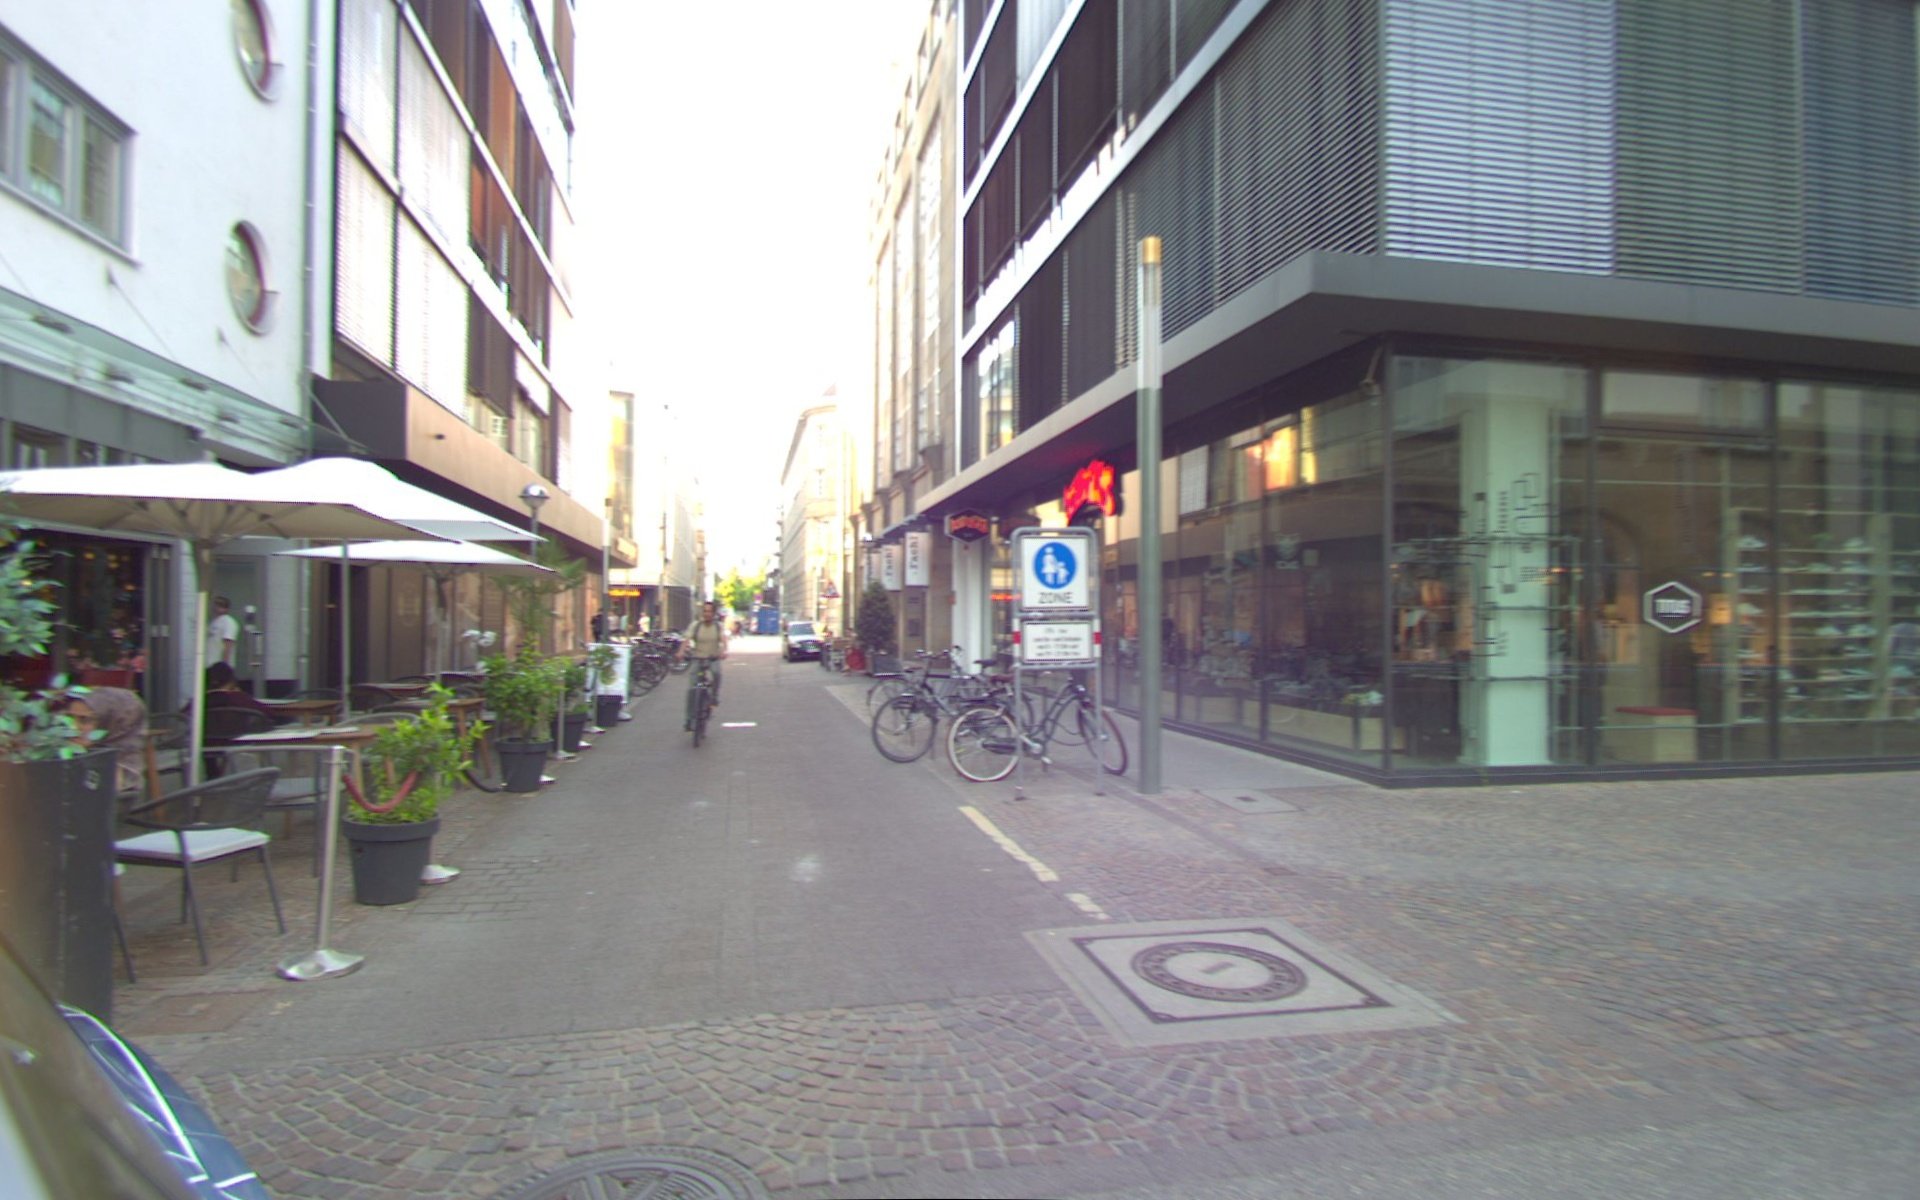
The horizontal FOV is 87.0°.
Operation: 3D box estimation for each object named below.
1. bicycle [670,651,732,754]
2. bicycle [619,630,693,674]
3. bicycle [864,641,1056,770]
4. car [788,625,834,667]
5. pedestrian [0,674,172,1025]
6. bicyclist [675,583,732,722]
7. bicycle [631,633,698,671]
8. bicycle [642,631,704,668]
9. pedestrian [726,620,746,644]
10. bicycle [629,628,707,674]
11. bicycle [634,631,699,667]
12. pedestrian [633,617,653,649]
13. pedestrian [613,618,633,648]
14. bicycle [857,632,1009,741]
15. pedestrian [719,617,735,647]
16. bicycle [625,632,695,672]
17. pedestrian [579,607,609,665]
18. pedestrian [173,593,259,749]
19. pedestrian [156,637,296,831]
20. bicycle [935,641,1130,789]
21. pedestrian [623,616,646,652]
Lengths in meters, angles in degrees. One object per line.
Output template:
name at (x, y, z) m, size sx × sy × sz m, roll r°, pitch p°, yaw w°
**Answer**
bicycle at (-3.247, 1.242, 12.799) m, size 0.688 × 1.137 × 2.010 m, roll 0°, pitch -1°, yaw -13°
bicycle at (-8.948, 1.531, 29.863) m, size 2.006 × 1.176 × 0.620 m, roll 4°, pitch -2°, yaw -12°
bicycle at (-0.004, 1.066, 10.520) m, size 1.872 × 1.190 × 0.518 m, roll -2°, pitch -2°, yaw -13°
car at (-5.420, 1.628, 36.936) m, size 1.578 × 1.434 × 3.610 m, roll 0°, pitch -1°, yaw -8°
pedestrian at (-3.317, 0.904, 3.846) m, size 0.393 × 1.223 × 0.384 m, roll 1°, pitch -2°, yaw -21°
bicyclist at (-3.233, 0.645, 12.784) m, size 0.665 × 1.683 × 0.871 m, roll 0°, pitch -1°, yaw -13°
bicycle at (-9.357, 1.635, 32.146) m, size 2.006 × 1.176 × 0.620 m, roll 1°, pitch -1°, yaw -13°
bicycle at (-9.860, 1.691, 34.773) m, size 2.006 × 1.225 × 0.620 m, roll 1°, pitch -1°, yaw -13°
pedestrian at (-14.725, 2.110, 66.550) m, size 0.917 × 1.584 × 0.982 m, roll -1°, pitch -1°, yaw 32°
bicycle at (-8.183, 1.436, 28.471) m, size 2.006 × 1.176 × 0.667 m, roll 3°, pitch -2°, yaw -12°
bicycle at (-9.719, 1.617, 33.560) m, size 2.006 × 1.176 × 0.620 m, roll 1°, pitch -1°, yaw -13°
pedestrian at (-16.497, 1.688, 52.629) m, size 0.780 × 1.633 × 0.629 m, roll 0°, pitch -1°, yaw 29°
pedestrian at (-17.329, 1.695, 52.053) m, size 0.633 × 1.536 × 0.776 m, roll 0°, pitch -1°, yaw 27°
bicycle at (-0.361, 1.109, 13.259) m, size 1.872 × 1.279 × 0.539 m, roll -3°, pitch -1°, yaw -11°
pedestrian at (-12.814, 1.765, 55.592) m, size 0.752 × 1.650 × 0.671 m, roll 1°, pitch -1°, yaw -19°
bicycle at (-9.192, 1.591, 31.053) m, size 2.006 × 1.176 × 0.620 m, roll 1°, pitch -1°, yaw -13°
pedestrian at (-11.865, 1.163, 32.844) m, size 0.791 × 1.850 × 0.676 m, roll 1°, pitch -1°, yaw -10°
pedestrian at (-8.780, 0.823, 11.970) m, size 0.629 × 1.785 × 0.604 m, roll 1°, pitch -1°, yaw -17°
pedestrian at (-5.804, 1.021, 8.052) m, size 0.566 × 1.431 × 0.870 m, roll 1°, pitch -1°, yaw -11°
bicycle at (0.647, 1.010, 9.158) m, size 1.643 × 1.213 × 0.510 m, roll -1°, pitch -1°, yaw -12°
pedestrian at (-15.058, 1.568, 46.808) m, size 0.635 × 1.633 × 0.773 m, roll 0°, pitch -1°, yaw 38°
